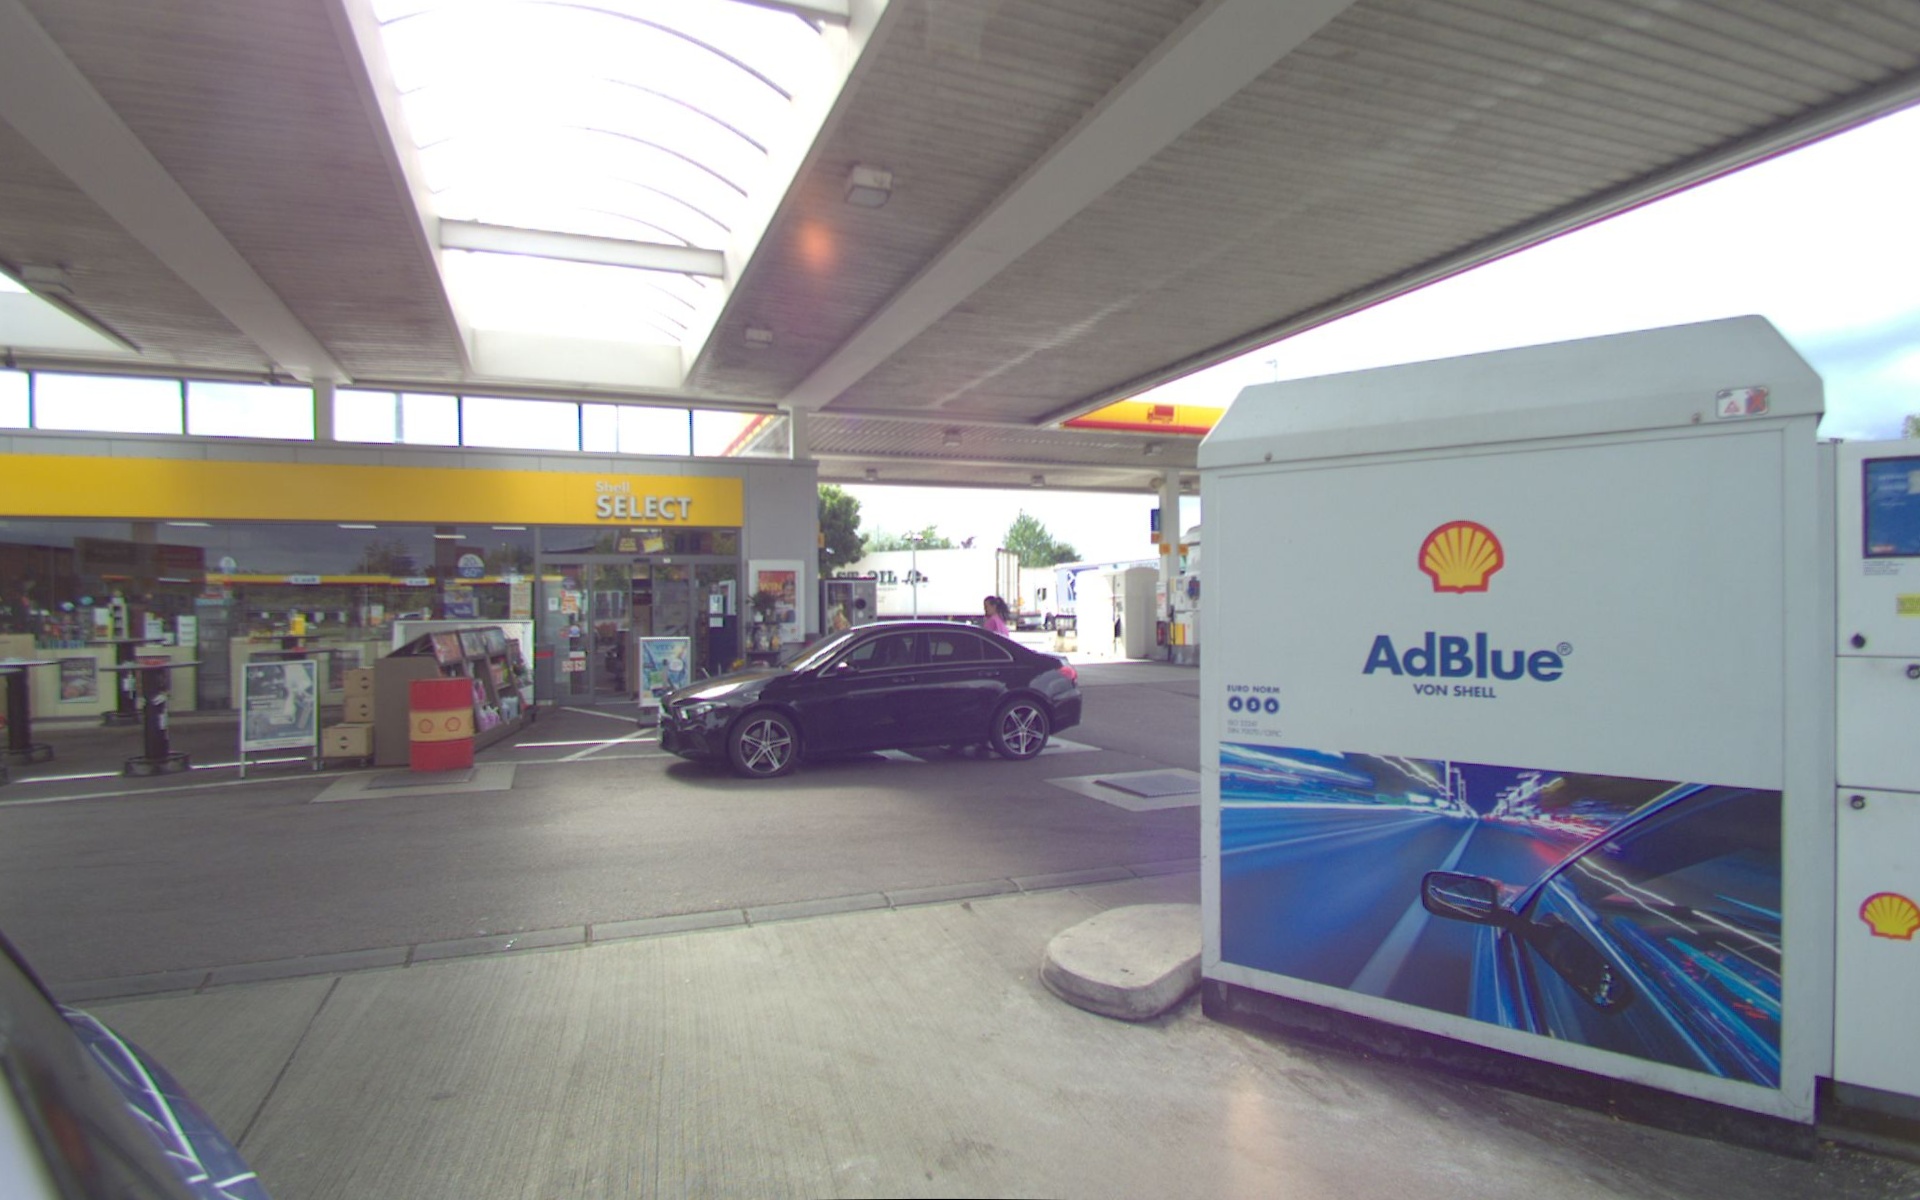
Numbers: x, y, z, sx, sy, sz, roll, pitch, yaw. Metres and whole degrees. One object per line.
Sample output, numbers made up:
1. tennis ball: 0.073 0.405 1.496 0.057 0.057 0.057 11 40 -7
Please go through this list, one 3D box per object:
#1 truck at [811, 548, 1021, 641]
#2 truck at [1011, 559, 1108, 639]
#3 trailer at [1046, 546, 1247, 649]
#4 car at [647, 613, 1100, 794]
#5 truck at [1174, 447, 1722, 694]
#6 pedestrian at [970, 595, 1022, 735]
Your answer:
1. truck: -2.117 -0.185 46.851 9.536 4.036 2.772 -1 0 25
2. truck: 5.912 -0.055 61.235 3.333 4.538 6.249 -1 0 -20
3. trailer: 9.090 -0.106 52.687 3.294 4.600 14.397 -1 0 -20
4. car: -0.913 0.941 10.629 4.394 1.511 1.785 -1 0 -21
5. truck: 9.646 -0.467 23.115 2.491 4.069 12.947 -1 0 -22
6. pedestrian: 0.468 0.806 12.864 0.615 1.726 0.626 -1 0 5
